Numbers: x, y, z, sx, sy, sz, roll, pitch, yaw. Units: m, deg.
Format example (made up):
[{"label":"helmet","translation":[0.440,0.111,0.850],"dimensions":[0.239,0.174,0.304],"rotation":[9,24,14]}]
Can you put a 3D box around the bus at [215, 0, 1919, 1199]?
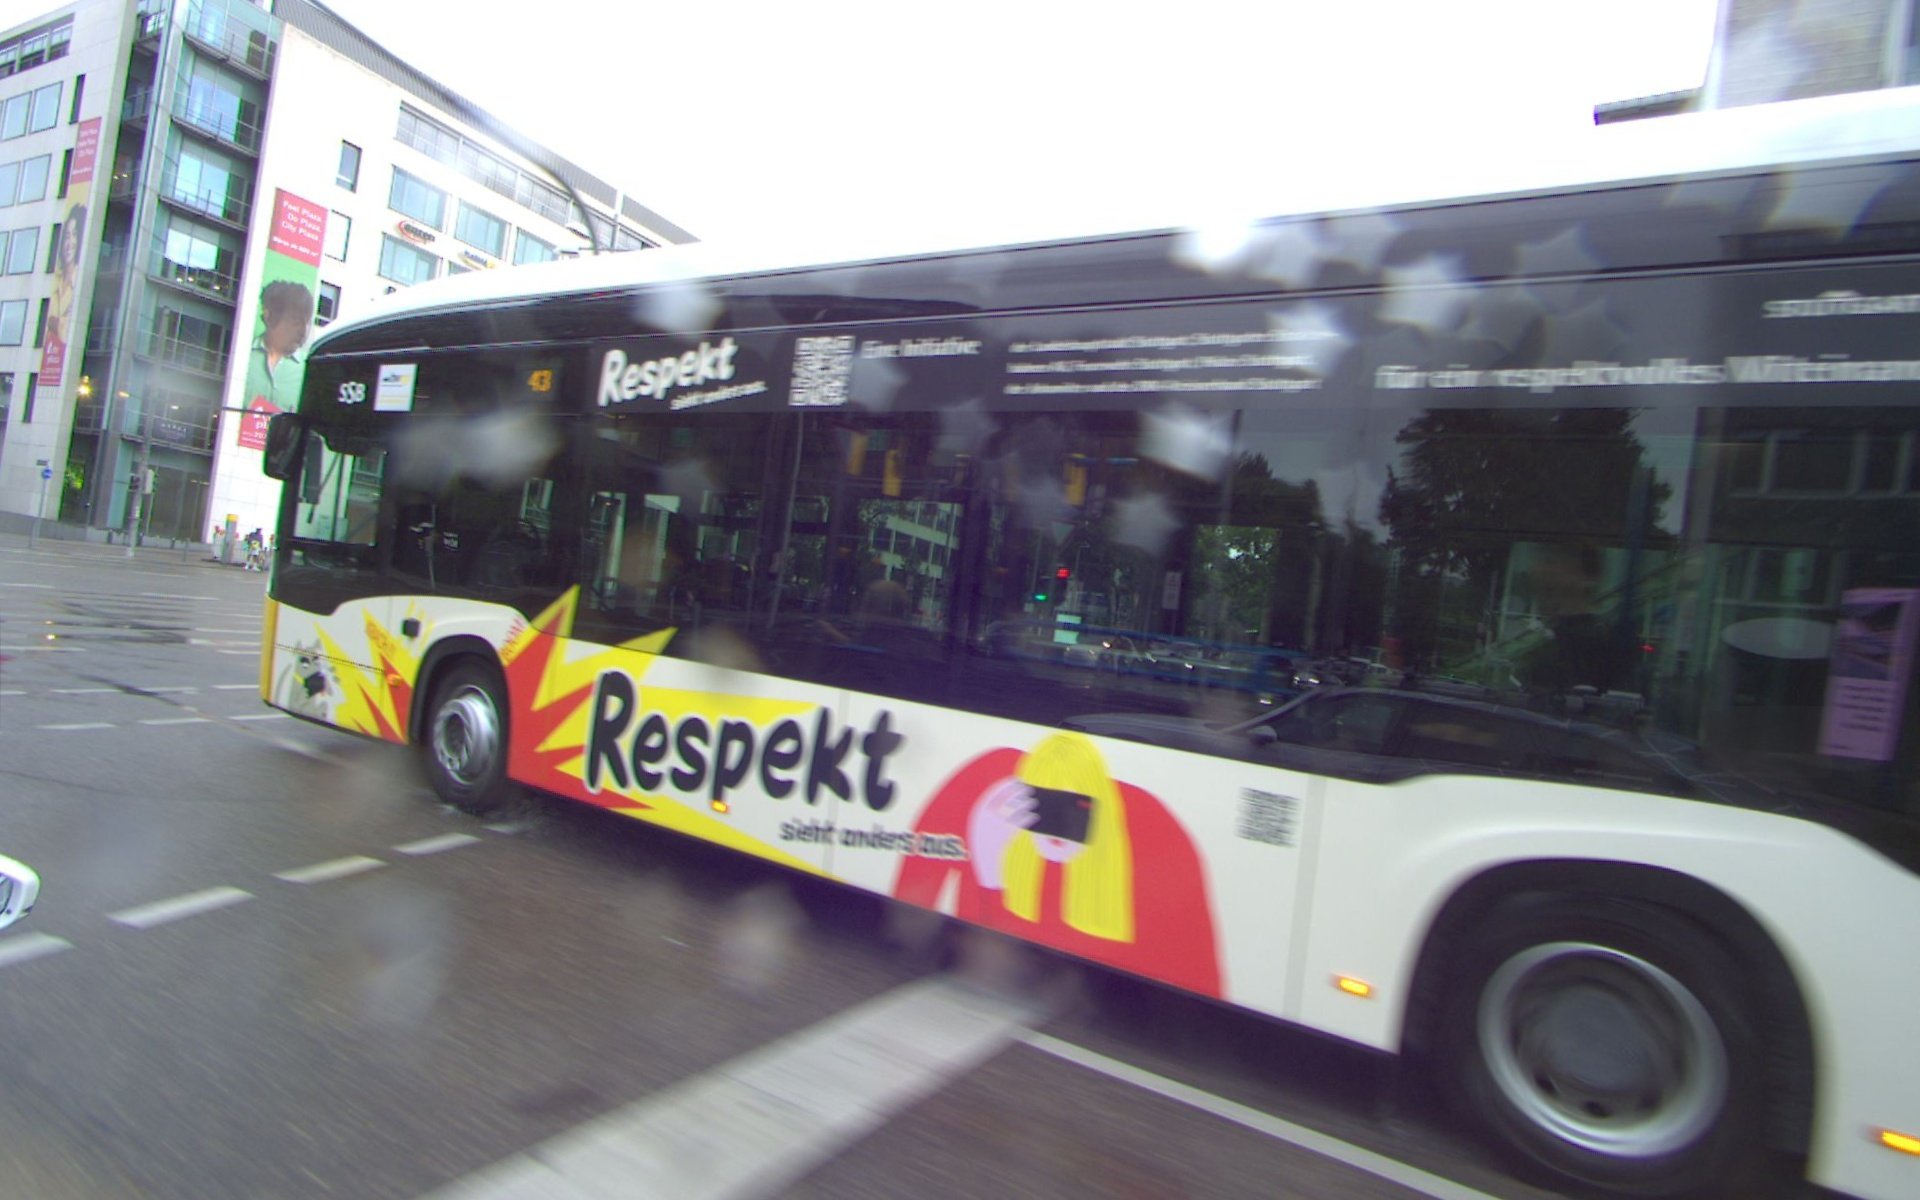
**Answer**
[{"label":"bus","translation":[-0.368,-0.142,5.940],"dimensions":[9.597,3.490,2.888],"rotation":[5,-2,32]}]

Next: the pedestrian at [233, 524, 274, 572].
[{"label":"pedestrian","translation":[-29.145,-2.141,41.497],"dimensions":[0.822,1.838,0.963],"rotation":[6,-1,31]}]
